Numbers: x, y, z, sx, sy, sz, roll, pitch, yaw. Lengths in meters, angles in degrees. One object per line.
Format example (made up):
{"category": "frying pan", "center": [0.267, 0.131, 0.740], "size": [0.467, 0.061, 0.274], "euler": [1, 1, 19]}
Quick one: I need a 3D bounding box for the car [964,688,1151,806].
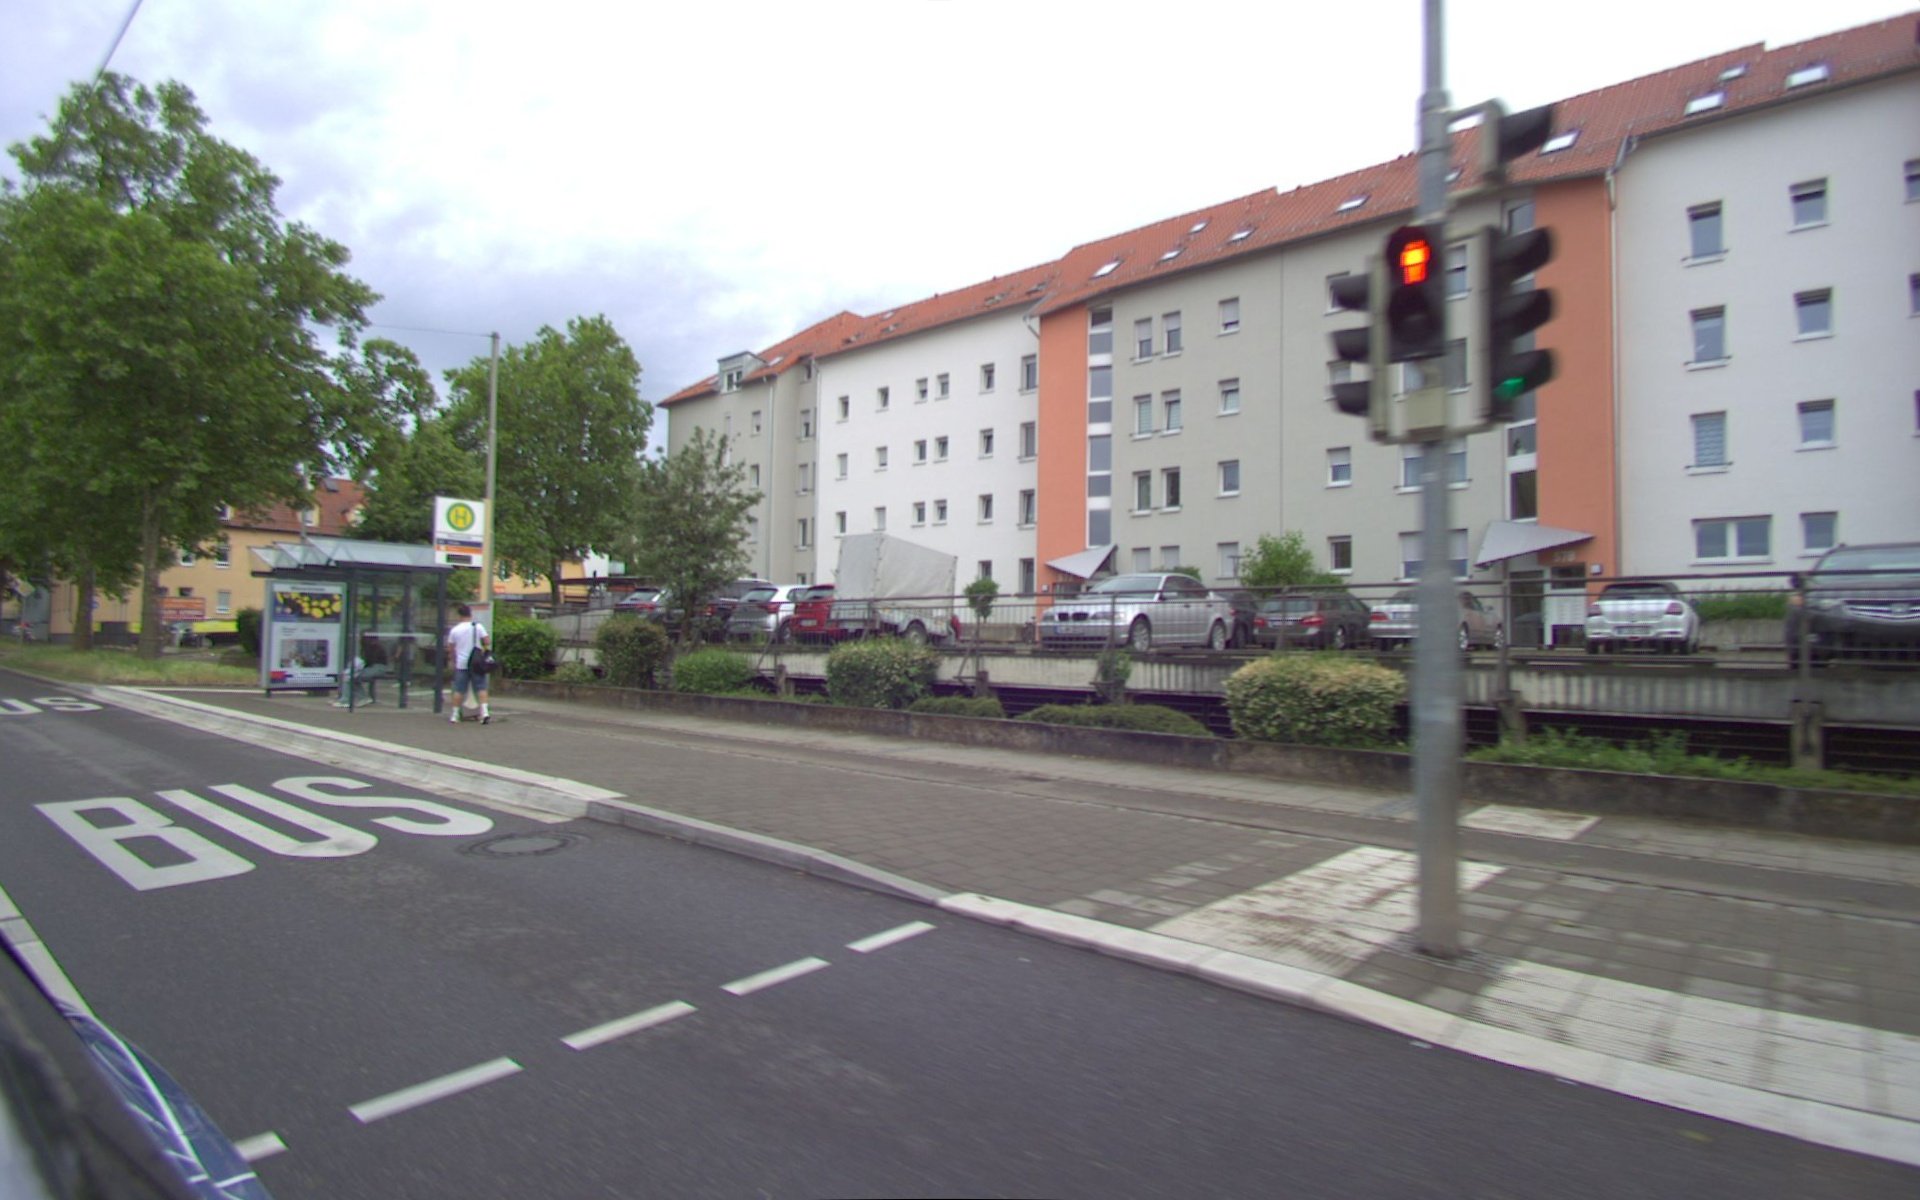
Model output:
{"category": "car", "center": [1.835, 2.550, 18.322], "size": [1.704, 1.710, 3.473], "euler": [-1, -2, 40]}

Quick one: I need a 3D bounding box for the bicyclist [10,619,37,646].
{"category": "bicyclist", "center": [-54.936, 1.892, 59.378], "size": [0.803, 1.564, 0.837], "euler": [1, 0, -12]}

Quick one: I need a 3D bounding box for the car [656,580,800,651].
{"category": "car", "center": [-5.461, 0.352, 24.068], "size": [1.436, 1.554, 3.098], "euler": [1, 0, 40]}

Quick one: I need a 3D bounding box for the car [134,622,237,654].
{"category": "car", "center": [-42.424, 2.032, 55.500], "size": [1.980, 1.550, 4.166], "euler": [1, 1, 39]}

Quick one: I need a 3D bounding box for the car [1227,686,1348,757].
{"category": "car", "center": [8.587, 3.105, 26.421], "size": [1.718, 1.415, 3.480], "euler": [1, 0, 42]}

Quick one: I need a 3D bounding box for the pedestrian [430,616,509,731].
{"category": "pedestrian", "center": [-7.162, 1.073, 14.772], "size": [0.607, 1.610, 0.733], "euler": [1, -5, 44]}

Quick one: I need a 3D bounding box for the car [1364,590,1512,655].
{"category": "car", "center": [10.723, 0.495, 22.587], "size": [1.797, 1.305, 3.942], "euler": [-2, -2, 44]}

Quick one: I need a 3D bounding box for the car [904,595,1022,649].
{"category": "car", "center": [0.155, 0.776, 34.734], "size": [2.000, 1.763, 3.848], "euler": [-1, -2, 43]}

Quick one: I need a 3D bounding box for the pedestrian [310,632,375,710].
{"category": "pedestrian", "center": [-11.005, 1.270, 18.050], "size": [0.641, 1.327, 0.766], "euler": [1, -4, 44]}

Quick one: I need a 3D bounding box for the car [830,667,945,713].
{"category": "car", "center": [-2.571, 3.202, 36.594], "size": [1.887, 1.407, 3.943], "euler": [-1, -2, 43]}

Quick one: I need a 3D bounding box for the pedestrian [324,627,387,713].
{"category": "pedestrian", "center": [-10.462, 1.206, 17.515], "size": [0.641, 1.429, 0.680], "euler": [1, -4, 44]}

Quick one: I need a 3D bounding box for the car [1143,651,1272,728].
{"category": "car", "center": [7.170, 2.491, 29.090], "size": [1.943, 2.029, 3.863], "euler": [-1, -3, 44]}

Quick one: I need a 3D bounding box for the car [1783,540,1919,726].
{"category": "car", "center": [10.128, 0.319, 10.829], "size": [1.998, 1.684, 4.499], "euler": [1, 0, 40]}

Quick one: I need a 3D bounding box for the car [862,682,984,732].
{"category": "car", "center": [-1.254, 3.665, 35.207], "size": [2.065, 1.407, 3.943], "euler": [-1, -2, 43]}

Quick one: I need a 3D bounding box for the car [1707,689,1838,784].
{"category": "car", "center": [15.506, 2.502, 19.261], "size": [1.718, 1.415, 3.479], "euler": [-1, -2, 42]}

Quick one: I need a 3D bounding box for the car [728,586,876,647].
{"category": "car", "center": [-3.500, 0.357, 22.737], "size": [1.436, 1.279, 3.098], "euler": [1, 0, 40]}

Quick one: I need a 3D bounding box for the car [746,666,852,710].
{"category": "car", "center": [-6.313, 3.431, 39.909], "size": [1.685, 1.518, 3.943], "euler": [-1, -2, 43]}

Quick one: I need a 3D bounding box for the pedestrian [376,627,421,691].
{"category": "pedestrian", "center": [-14.642, 1.522, 26.389], "size": [0.833, 1.623, 0.748], "euler": [1, 0, 36]}

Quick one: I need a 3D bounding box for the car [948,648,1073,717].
{"category": "car", "center": [1.684, 2.595, 32.795], "size": [2.000, 2.029, 3.943], "euler": [-1, -2, 43]}

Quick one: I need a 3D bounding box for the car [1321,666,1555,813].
{"category": "car", "center": [6.736, 1.772, 14.009], "size": [1.859, 1.435, 4.311], "euler": [1, 0, 40]}

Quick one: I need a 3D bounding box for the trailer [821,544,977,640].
{"category": "trailer", "center": [-1.102, -0.117, 19.042], "size": [1.479, 1.658, 2.676], "euler": [0, -1, 41]}

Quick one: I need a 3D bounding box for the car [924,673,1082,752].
{"category": "car", "center": [1.078, 2.539, 23.600], "size": [1.589, 1.415, 3.927], "euler": [1, 0, 40]}

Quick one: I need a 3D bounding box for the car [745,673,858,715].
{"category": "car", "center": [-6.195, 3.654, 39.813], "size": [2.065, 1.407, 3.943], "euler": [-1, -2, 43]}

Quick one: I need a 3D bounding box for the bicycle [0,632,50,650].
{"category": "bicycle", "center": [-54.869, 2.408, 59.387], "size": [2.228, 1.003, 0.557], "euler": [1, 0, -13]}

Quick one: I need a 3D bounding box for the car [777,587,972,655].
{"category": "car", "center": [-1.735, 0.416, 21.585], "size": [1.809, 1.312, 4.046], "euler": [1, 0, 40]}

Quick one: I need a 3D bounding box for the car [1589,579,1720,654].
{"category": "car", "center": [14.142, 0.363, 20.539], "size": [1.718, 1.399, 3.479], "euler": [-1, -2, 42]}

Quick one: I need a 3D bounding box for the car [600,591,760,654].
{"category": "car", "center": [-7.227, 0.553, 26.339], "size": [1.894, 1.509, 3.619], "euler": [1, 0, 37]}

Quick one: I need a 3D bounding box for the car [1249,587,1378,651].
{"category": "car", "center": [8.613, 0.433, 24.496], "size": [1.718, 1.415, 3.480], "euler": [1, 0, 42]}

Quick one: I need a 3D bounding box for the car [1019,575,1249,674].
{"category": "car", "center": [3.028, 0.368, 16.912], "size": [1.859, 1.435, 4.311], "euler": [1, 0, 40]}

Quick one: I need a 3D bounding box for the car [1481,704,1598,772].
{"category": "car", "center": [12.203, 2.849, 21.243], "size": [1.378, 1.091, 3.161], "euler": [-1, -2, 45]}
